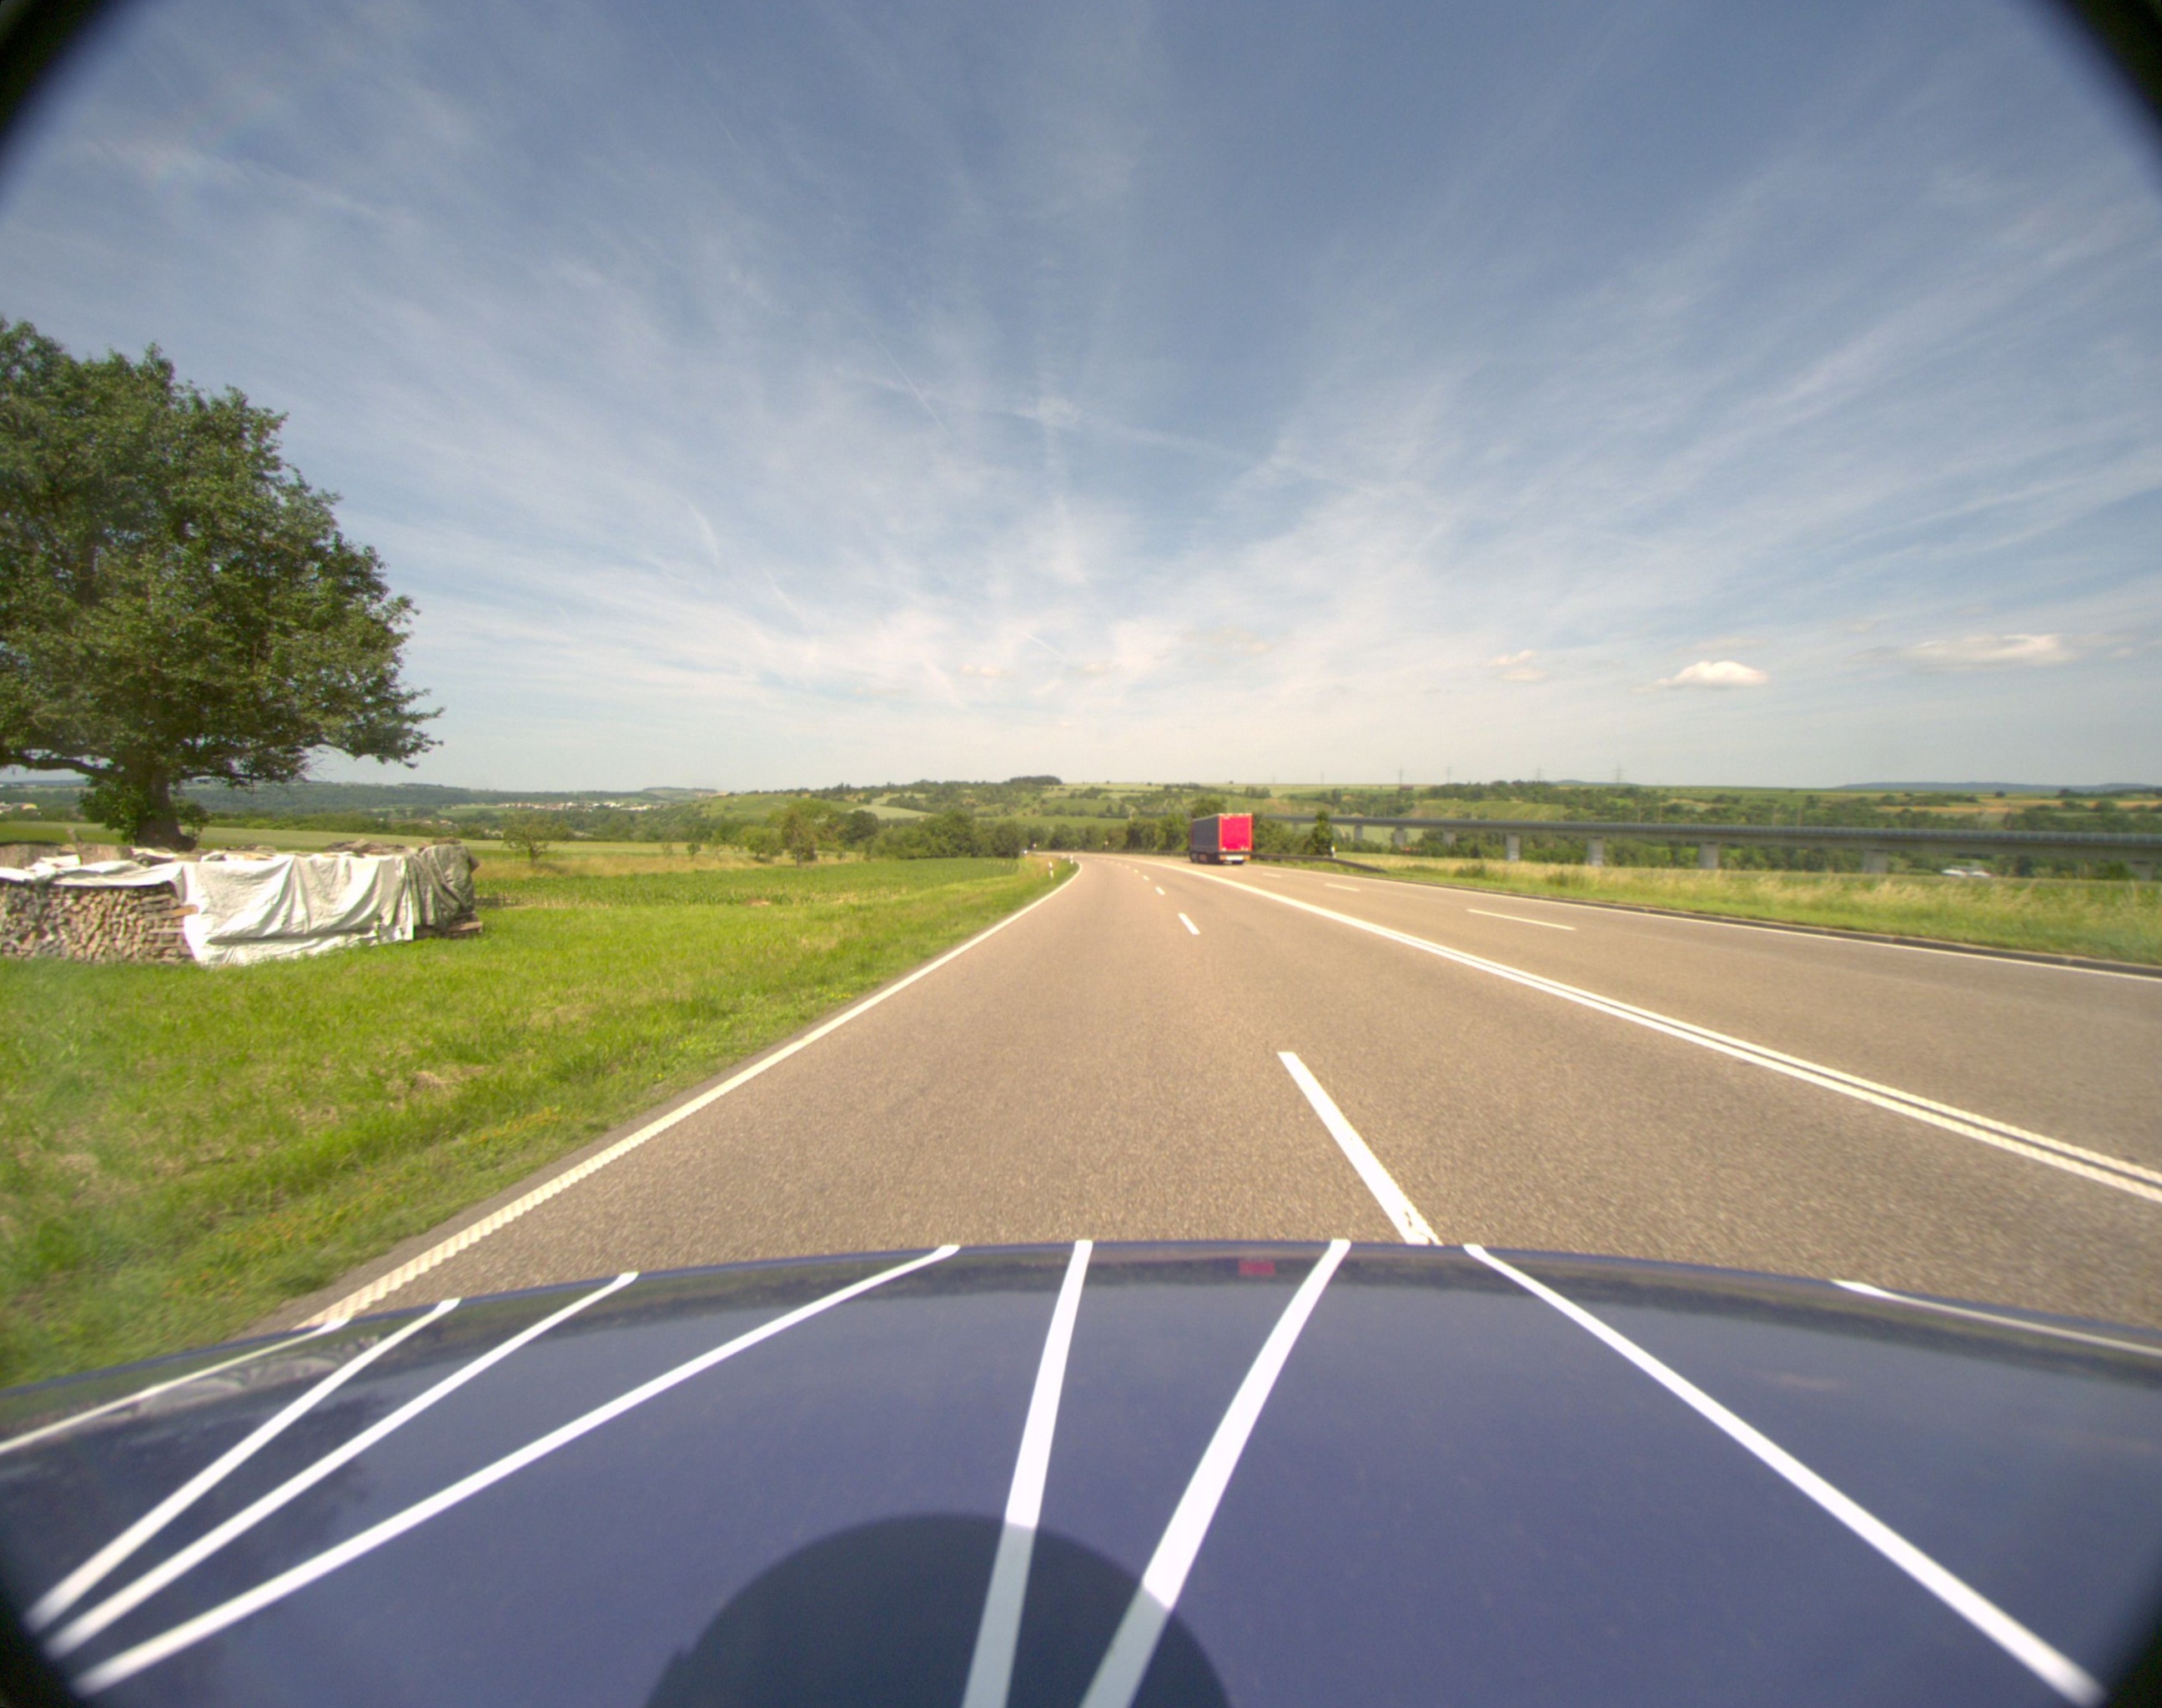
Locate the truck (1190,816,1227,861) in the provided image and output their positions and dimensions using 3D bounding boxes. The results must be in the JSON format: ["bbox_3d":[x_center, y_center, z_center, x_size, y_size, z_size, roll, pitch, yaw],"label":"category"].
[{"bbox_3d":[12.101,-1.415,72.366,2.623,4.078,6.087,0,1,1],"label":"truck"}]

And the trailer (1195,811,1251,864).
[{"bbox_3d":[12.054,-1.368,65.744,2.551,4.078,13.582,0,1,1],"label":"trailer"}]
